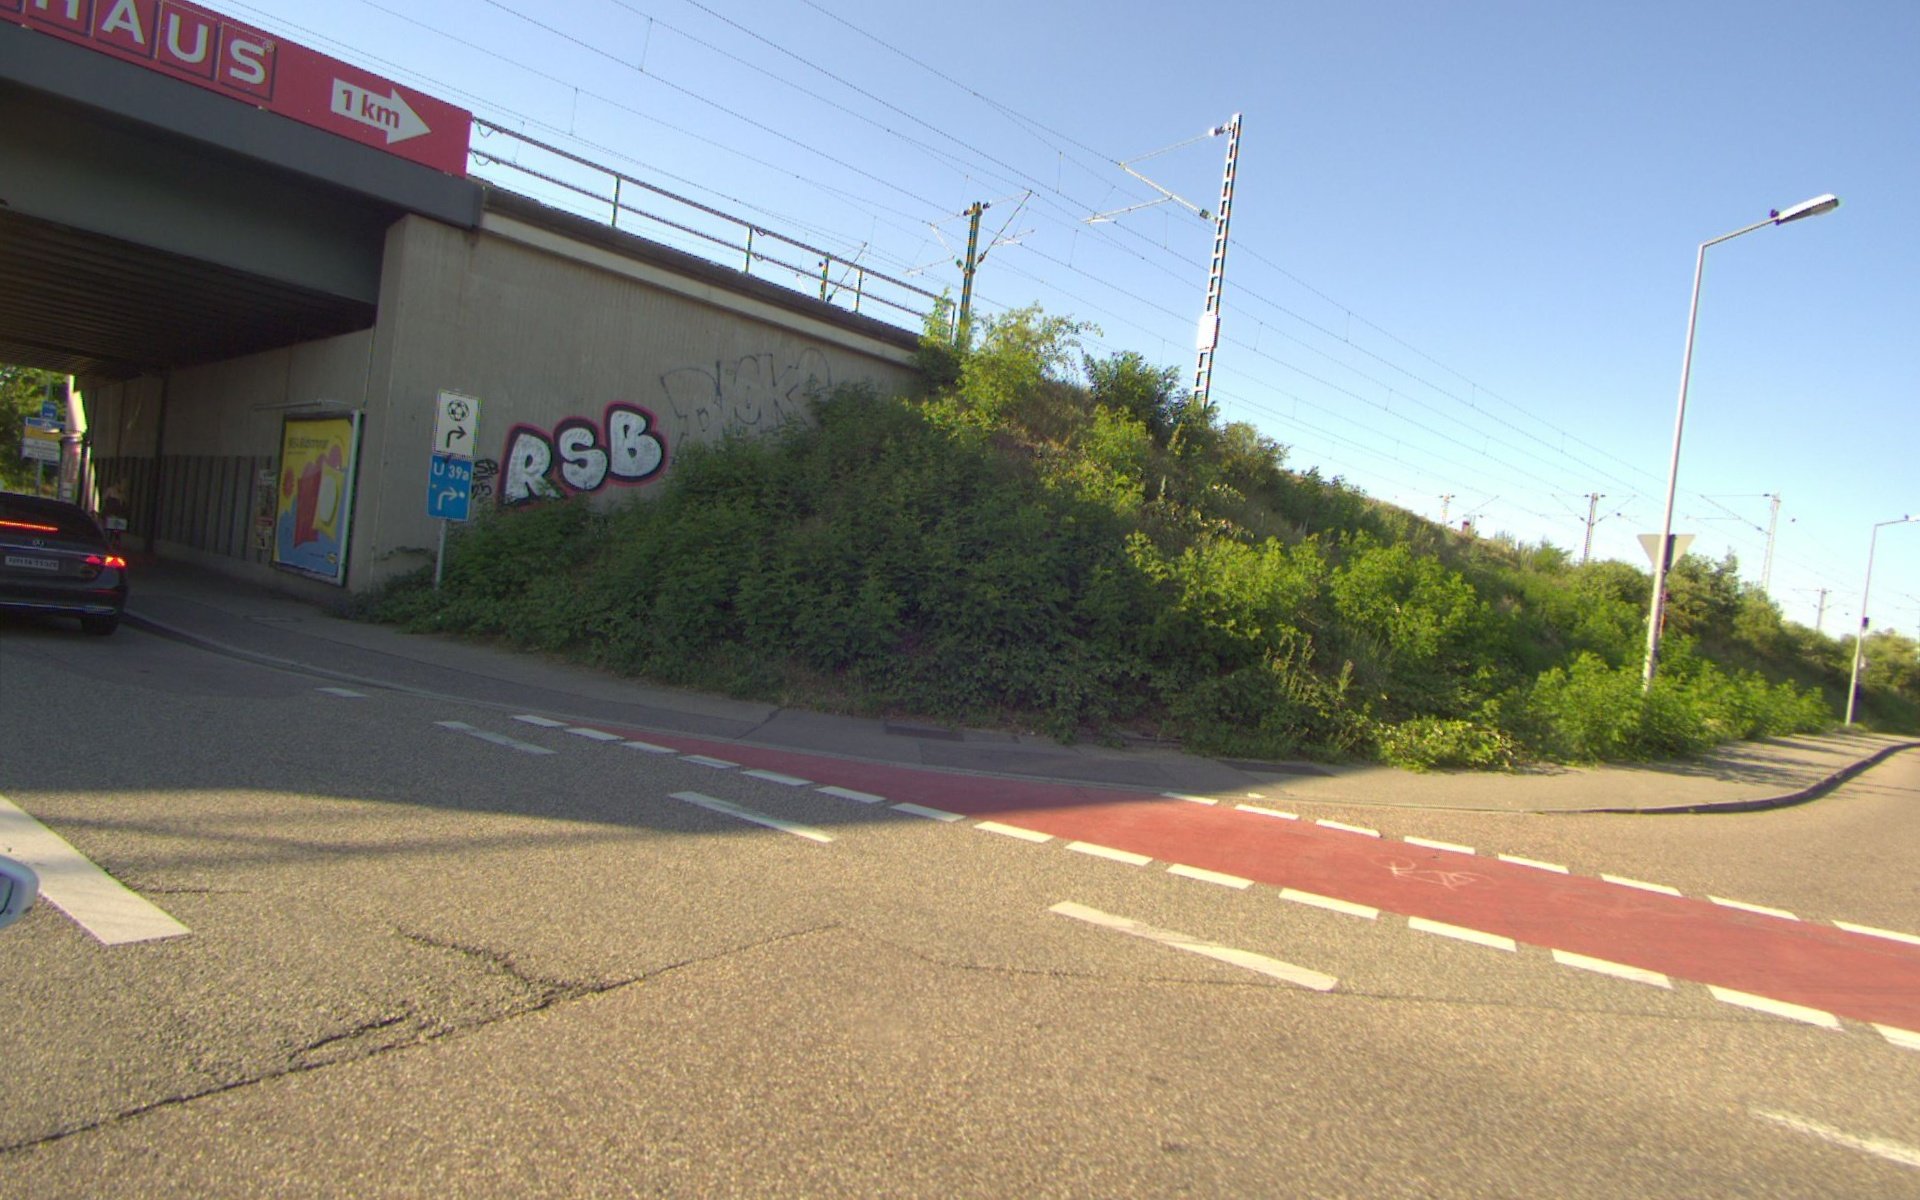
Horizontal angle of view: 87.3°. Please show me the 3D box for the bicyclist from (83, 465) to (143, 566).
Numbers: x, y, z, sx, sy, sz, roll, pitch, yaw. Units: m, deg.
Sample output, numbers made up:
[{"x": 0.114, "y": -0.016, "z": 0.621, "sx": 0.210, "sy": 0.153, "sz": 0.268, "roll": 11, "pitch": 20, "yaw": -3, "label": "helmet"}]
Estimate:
[{"x": -17.214, "y": -1.715, "z": 20.448, "sx": 0.821, "sy": 1.930, "sz": 0.681, "roll": 6, "pitch": 0, "yaw": 41, "label": "bicyclist"}]

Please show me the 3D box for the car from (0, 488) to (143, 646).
[{"x": -11.251, "y": -0.545, "z": 11.544, "sx": 4.534, "sy": 1.472, "sz": 1.741, "roll": 8, "pitch": 0, "yaw": 36, "label": "car"}]

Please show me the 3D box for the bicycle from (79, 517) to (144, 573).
[{"x": -17.271, "y": -1.143, "z": 20.449, "sx": 2.847, "sy": 0.975, "sz": 0.577, "roll": 5, "pitch": 0, "yaw": 42, "label": "bicycle"}]
